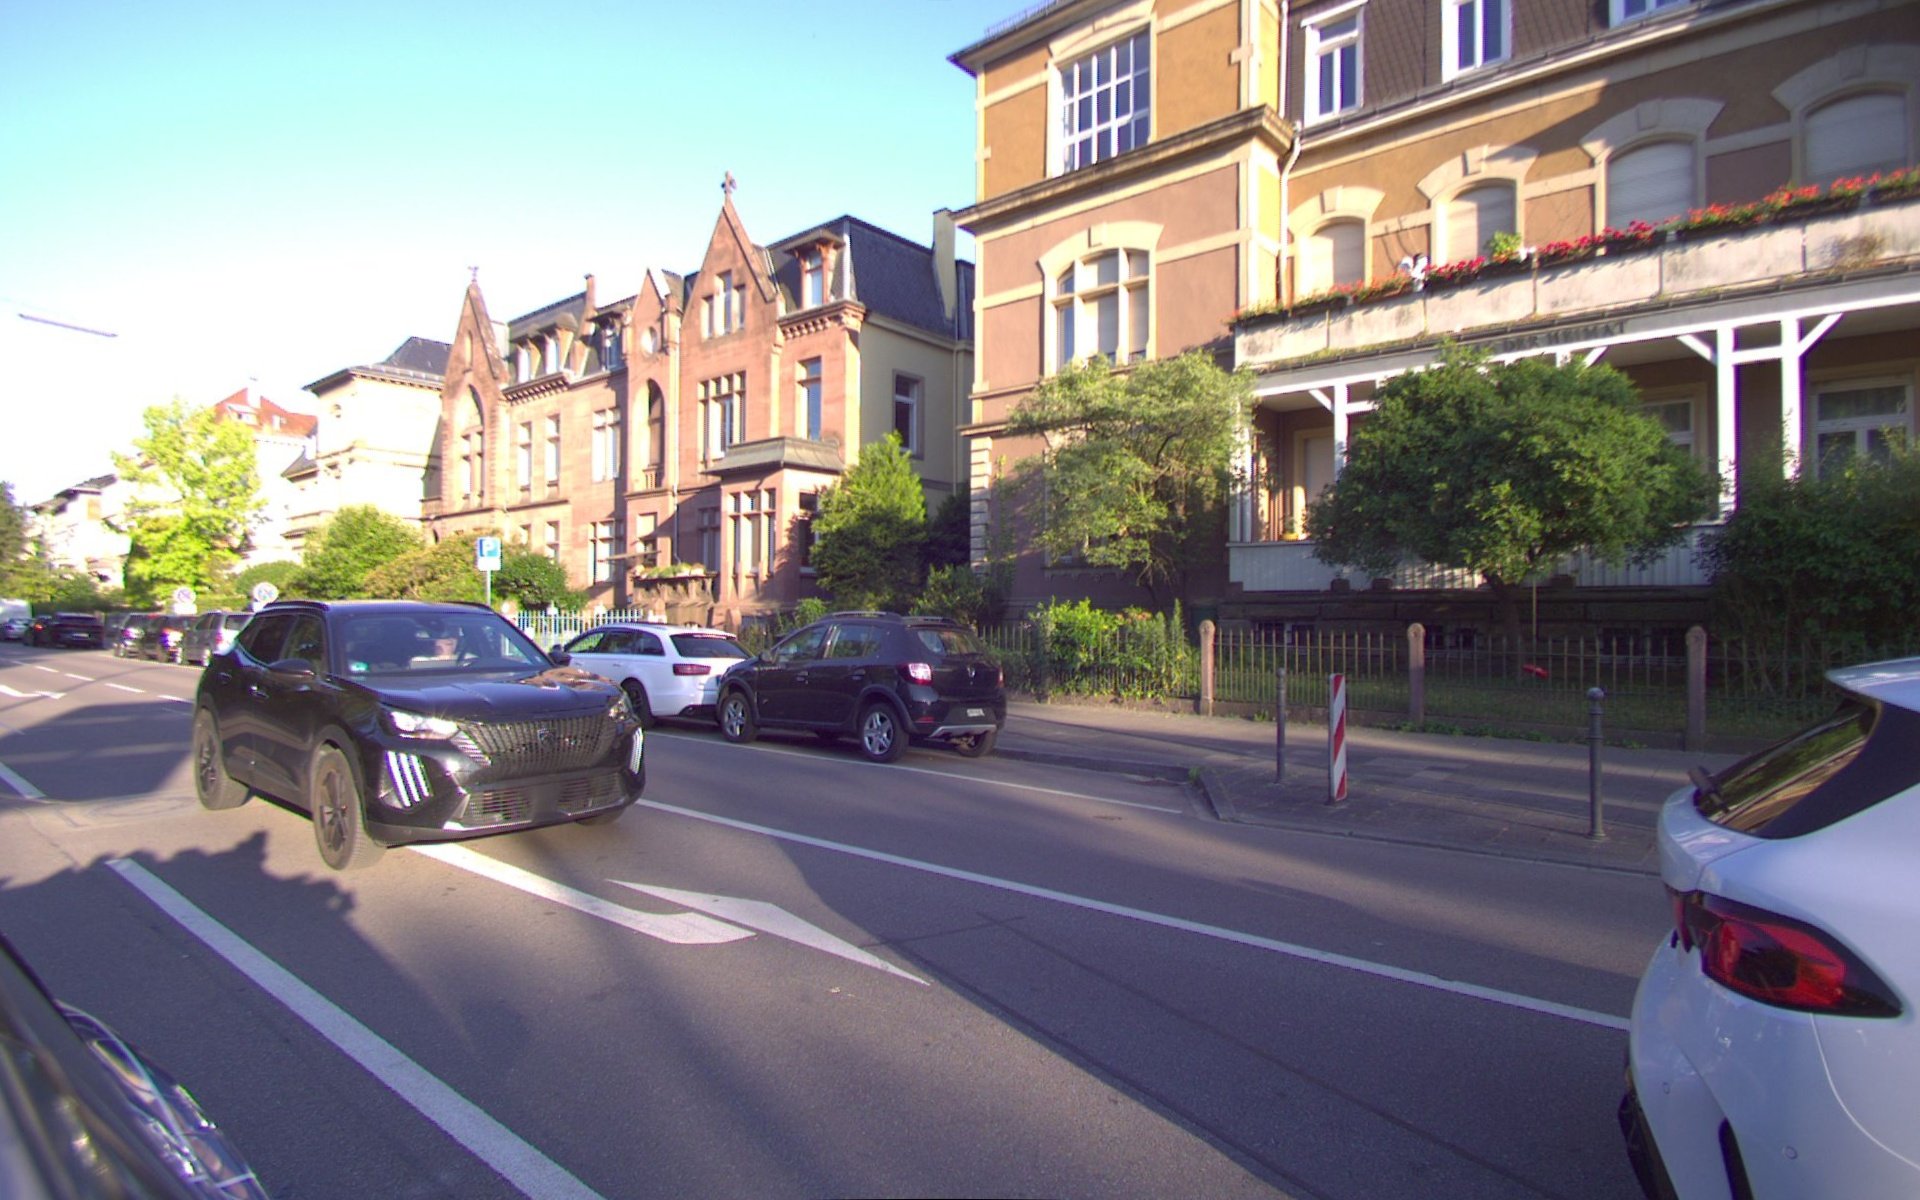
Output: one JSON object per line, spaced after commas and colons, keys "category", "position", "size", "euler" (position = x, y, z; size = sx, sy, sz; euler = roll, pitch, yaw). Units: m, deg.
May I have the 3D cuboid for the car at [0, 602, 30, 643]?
{"category": "car", "position": [-57.790, 1.356, 60.634], "size": [5.874, 2.387, 2.203], "euler": [-1, -3, 40]}

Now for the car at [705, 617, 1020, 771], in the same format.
{"category": "car", "position": [-1.256, 1.026, 12.023], "size": [3.722, 1.546, 1.610], "euler": [-1, -5, 43]}

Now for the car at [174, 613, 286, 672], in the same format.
{"category": "car", "position": [-21.144, 1.208, 29.274], "size": [3.749, 1.601, 1.694], "euler": [-1, -3, 39]}

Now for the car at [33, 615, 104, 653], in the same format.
{"category": "car", "position": [-39.425, 1.484, 44.720], "size": [3.721, 1.617, 1.856], "euler": [-1, -3, 41]}

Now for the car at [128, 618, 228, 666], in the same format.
{"category": "car", "position": [-25.053, 1.329, 32.403], "size": [3.719, 1.461, 1.694], "euler": [-1, -3, 39]}

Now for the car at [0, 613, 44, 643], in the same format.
{"category": "car", "position": [-52.410, 1.574, 56.107], "size": [3.848, 1.617, 1.695], "euler": [-1, -3, 38]}

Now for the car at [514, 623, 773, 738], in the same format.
{"category": "car", "position": [-4.781, 1.110, 14.928], "size": [4.432, 1.454, 1.587], "euler": [-1, -5, 43]}

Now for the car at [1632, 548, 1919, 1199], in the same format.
{"category": "car", "position": [3.285, 0.655, 1.015], "size": [4.185, 1.477, 1.734], "euler": [-1, -2, 40]}

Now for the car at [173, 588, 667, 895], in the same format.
{"category": "car", "position": [-3.909, 0.758, 7.043], "size": [3.997, 1.547, 1.661], "euler": [-1, -2, 40]}

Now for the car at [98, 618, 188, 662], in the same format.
{"category": "car", "position": [-28.647, 1.366, 35.448], "size": [3.719, 1.461, 1.694], "euler": [-1, -3, 39]}

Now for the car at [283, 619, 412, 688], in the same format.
{"category": "car", "position": [-14.207, 1.194, 23.413], "size": [3.566, 1.456, 1.610], "euler": [-1, -3, 43]}
